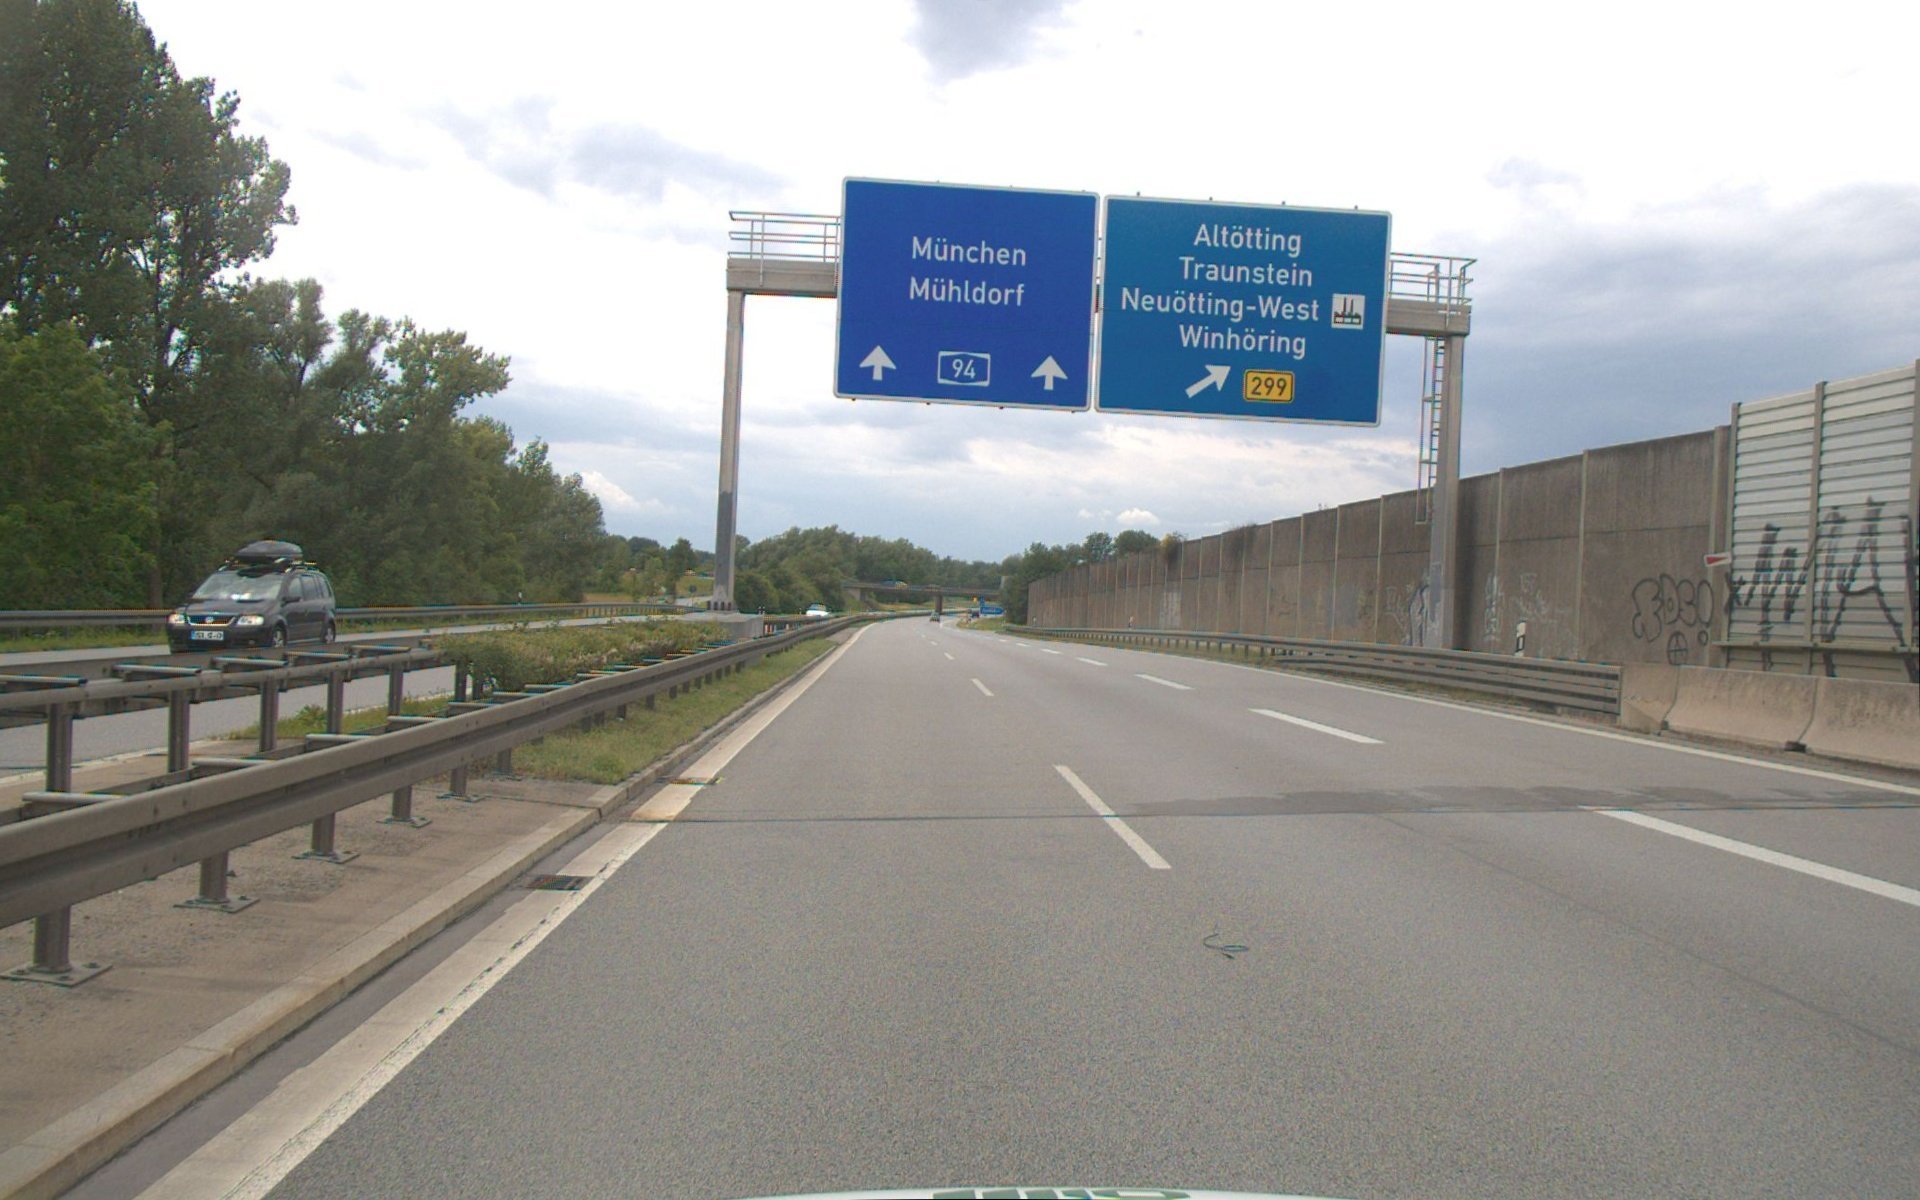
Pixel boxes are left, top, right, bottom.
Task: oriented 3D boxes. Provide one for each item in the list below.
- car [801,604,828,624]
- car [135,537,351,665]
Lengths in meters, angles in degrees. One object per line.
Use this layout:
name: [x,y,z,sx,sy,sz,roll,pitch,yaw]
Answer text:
car: [-12.925,1.231,147.044,1.953,1.643,5.027,2,0,-1]
car: [-12.620,0.025,29.483,1.954,2.037,4.740,2,-1,-3]
